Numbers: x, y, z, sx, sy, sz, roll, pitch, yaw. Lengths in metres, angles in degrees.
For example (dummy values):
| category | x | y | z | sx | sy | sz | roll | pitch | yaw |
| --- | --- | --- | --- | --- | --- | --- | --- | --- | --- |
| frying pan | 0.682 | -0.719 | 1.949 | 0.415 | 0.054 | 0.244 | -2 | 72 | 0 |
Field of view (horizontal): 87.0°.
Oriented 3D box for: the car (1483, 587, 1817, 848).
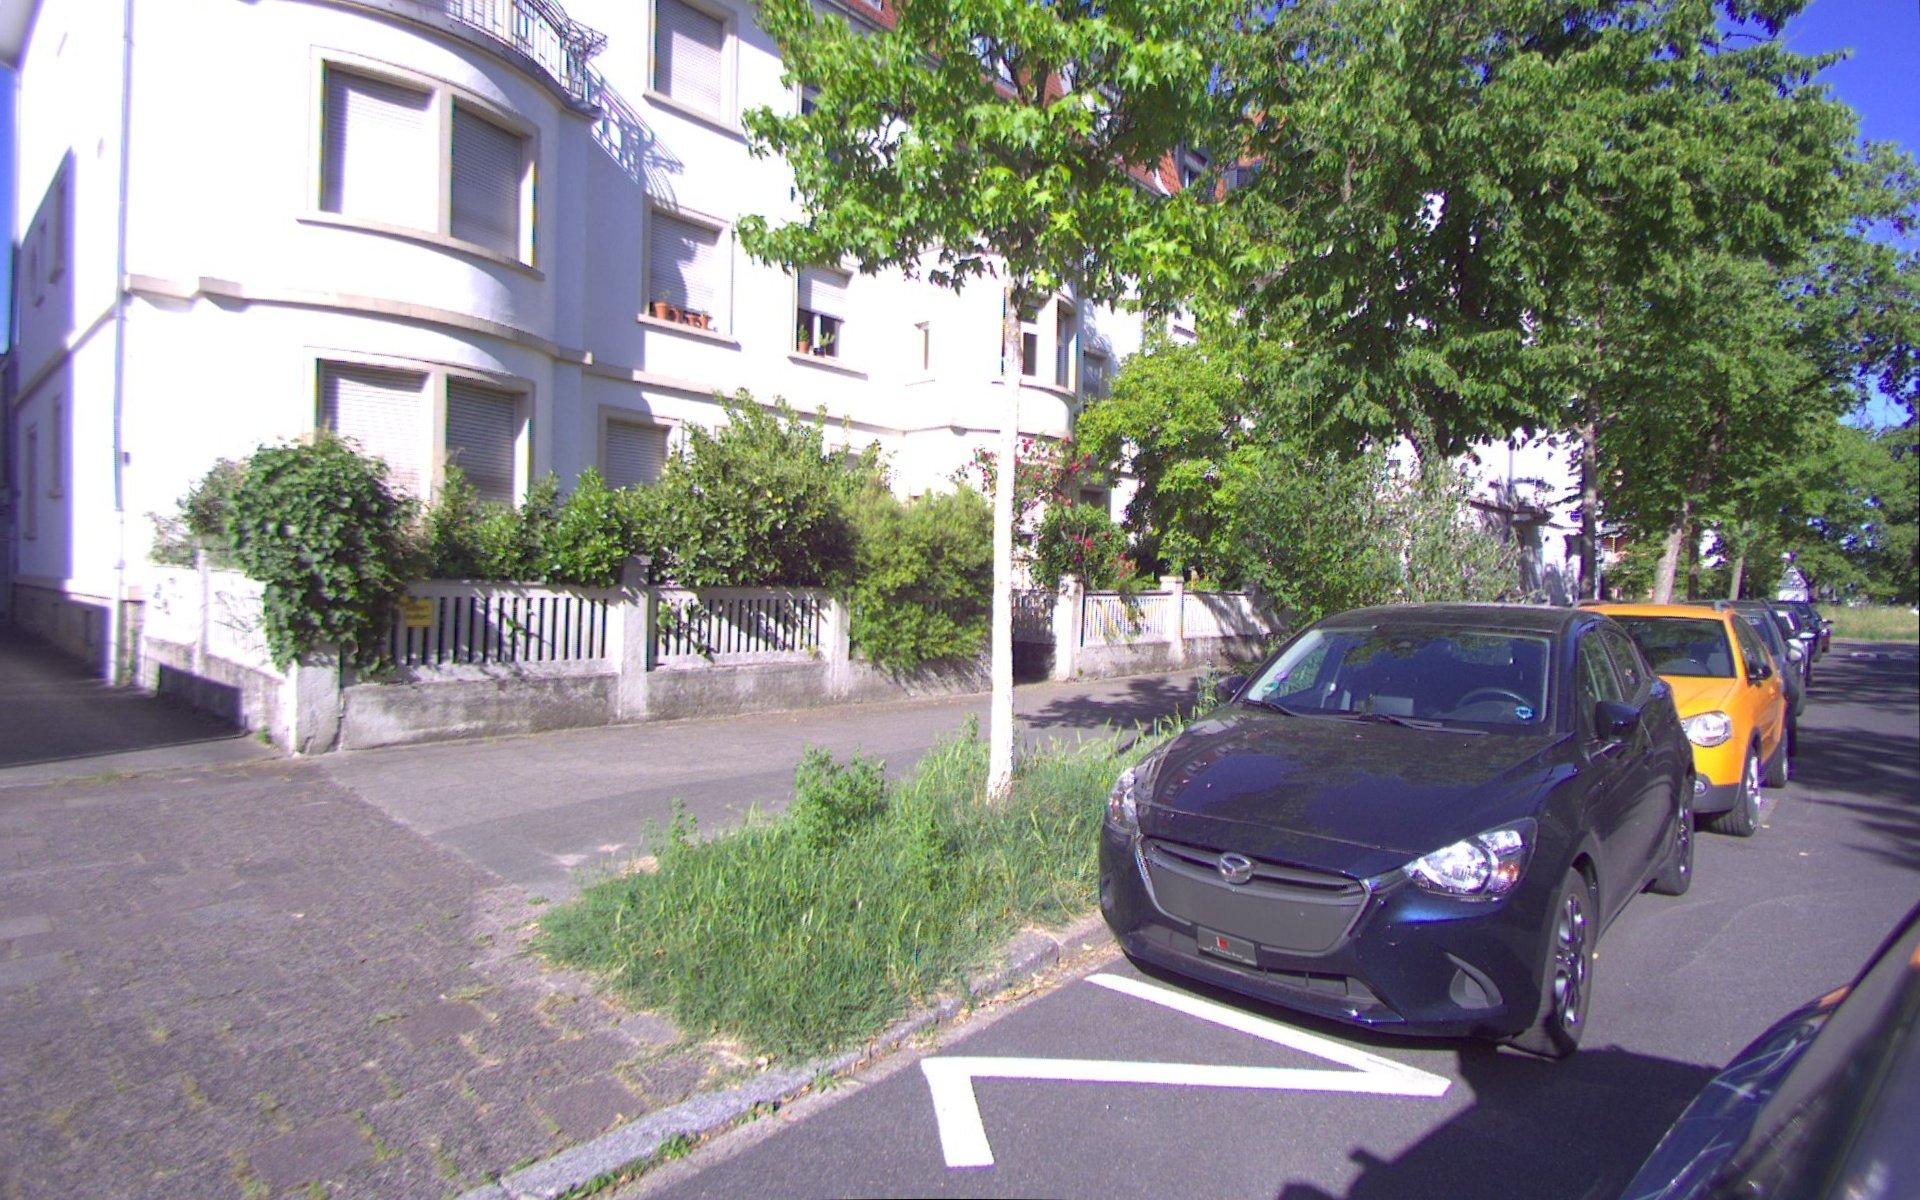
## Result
| category | x | y | z | sx | sy | sz | roll | pitch | yaw |
| --- | --- | --- | --- | --- | --- | --- | --- | --- | --- |
| car | 5.558 | 0.680 | 7.918 | 1.636 | 1.473 | 4.037 | 2 | 1 | 42 |

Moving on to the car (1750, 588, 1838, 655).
| category | x | y | z | sx | sy | sz | roll | pitch | yaw |
| --- | --- | --- | --- | --- | --- | --- | --- | --- | --- |
| car | 24.121 | 0.571 | 29.224 | 1.780 | 1.719 | 4.233 | 3 | 1 | 41 |

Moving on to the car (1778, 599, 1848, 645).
| category | x | y | z | sx | sy | sz | roll | pitch | yaw |
| --- | --- | --- | --- | --- | --- | --- | --- | --- | --- |
| car | 28.870 | 0.693 | 34.352 | 1.608 | 1.427 | 4.291 | 2 | 1 | 38 |

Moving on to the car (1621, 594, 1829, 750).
| category | x | y | z | sx | sy | sz | roll | pitch | yaw |
| --- | --- | --- | --- | --- | --- | --- | --- | --- | --- |
| car | 8.859 | 0.694 | 11.655 | 1.647 | 1.446 | 3.560 | 3 | 2 | 40 |

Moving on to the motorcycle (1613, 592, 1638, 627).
| category | x | y | z | sx | sy | sz | roll | pitch | yaw |
| --- | --- | --- | --- | --- | --- | --- | --- | --- | --- |
| motorcycle | 27.441 | 0.374 | 41.734 | 0.539 | 1.378 | 2.057 | 2 | 1 | 42 |

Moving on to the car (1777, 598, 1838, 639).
| category | x | y | z | sx | sy | sz | roll | pitch | yaw |
| --- | --- | --- | --- | --- | --- | --- | --- | --- | --- |
| car | 31.891 | 0.668 | 38.049 | 1.651 | 1.419 | 4.074 | 2 | 1 | 41 |

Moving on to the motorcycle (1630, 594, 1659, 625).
| category | x | y | z | sx | sy | sz | roll | pitch | yaw |
| --- | --- | --- | --- | --- | --- | --- | --- | --- | --- |
| motorcycle | 30.298 | 0.412 | 44.767 | 0.968 | 1.345 | 1.828 | 2 | 1 | 37 |

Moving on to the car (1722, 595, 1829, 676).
| category | x | y | z | sx | sy | sz | roll | pitch | yaw |
| --- | --- | --- | --- | --- | --- | --- | --- | --- | --- |
| car | 18.080 | 0.710 | 22.388 | 1.682 | 1.608 | 4.469 | -1 | -1 | 40 |

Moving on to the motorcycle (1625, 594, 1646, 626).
| category | x | y | z | sx | sy | sz | roll | pitch | yaw |
| --- | --- | --- | --- | --- | --- | --- | --- | --- | --- |
| motorcycle | 29.012 | 0.424 | 43.447 | 0.654 | 1.295 | 1.777 | 4 | 2 | 35 |

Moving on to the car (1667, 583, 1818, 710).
| category | x | y | z | sx | sy | sz | roll | pitch | yaw |
| --- | --- | --- | --- | --- | --- | --- | --- | --- | --- |
| car | 12.042 | 0.615 | 15.581 | 1.646 | 1.676 | 3.793 | 2 | 1 | 39 |

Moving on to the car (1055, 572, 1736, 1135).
| category | x | y | z | sx | sy | sz | roll | pitch | yaw |
| --- | --- | --- | --- | --- | --- | --- | --- | --- | --- |
| car | 2.351 | 0.664 | 4.764 | 1.700 | 1.467 | 4.019 | 3 | 2 | 42 |

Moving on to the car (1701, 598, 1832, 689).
| category | x | y | z | sx | sy | sz | roll | pitch | yaw |
| --- | --- | --- | --- | --- | --- | --- | --- | --- | --- |
| car | 15.151 | 0.721 | 18.932 | 1.629 | 1.442 | 4.301 | 3 | 2 | 42 |
